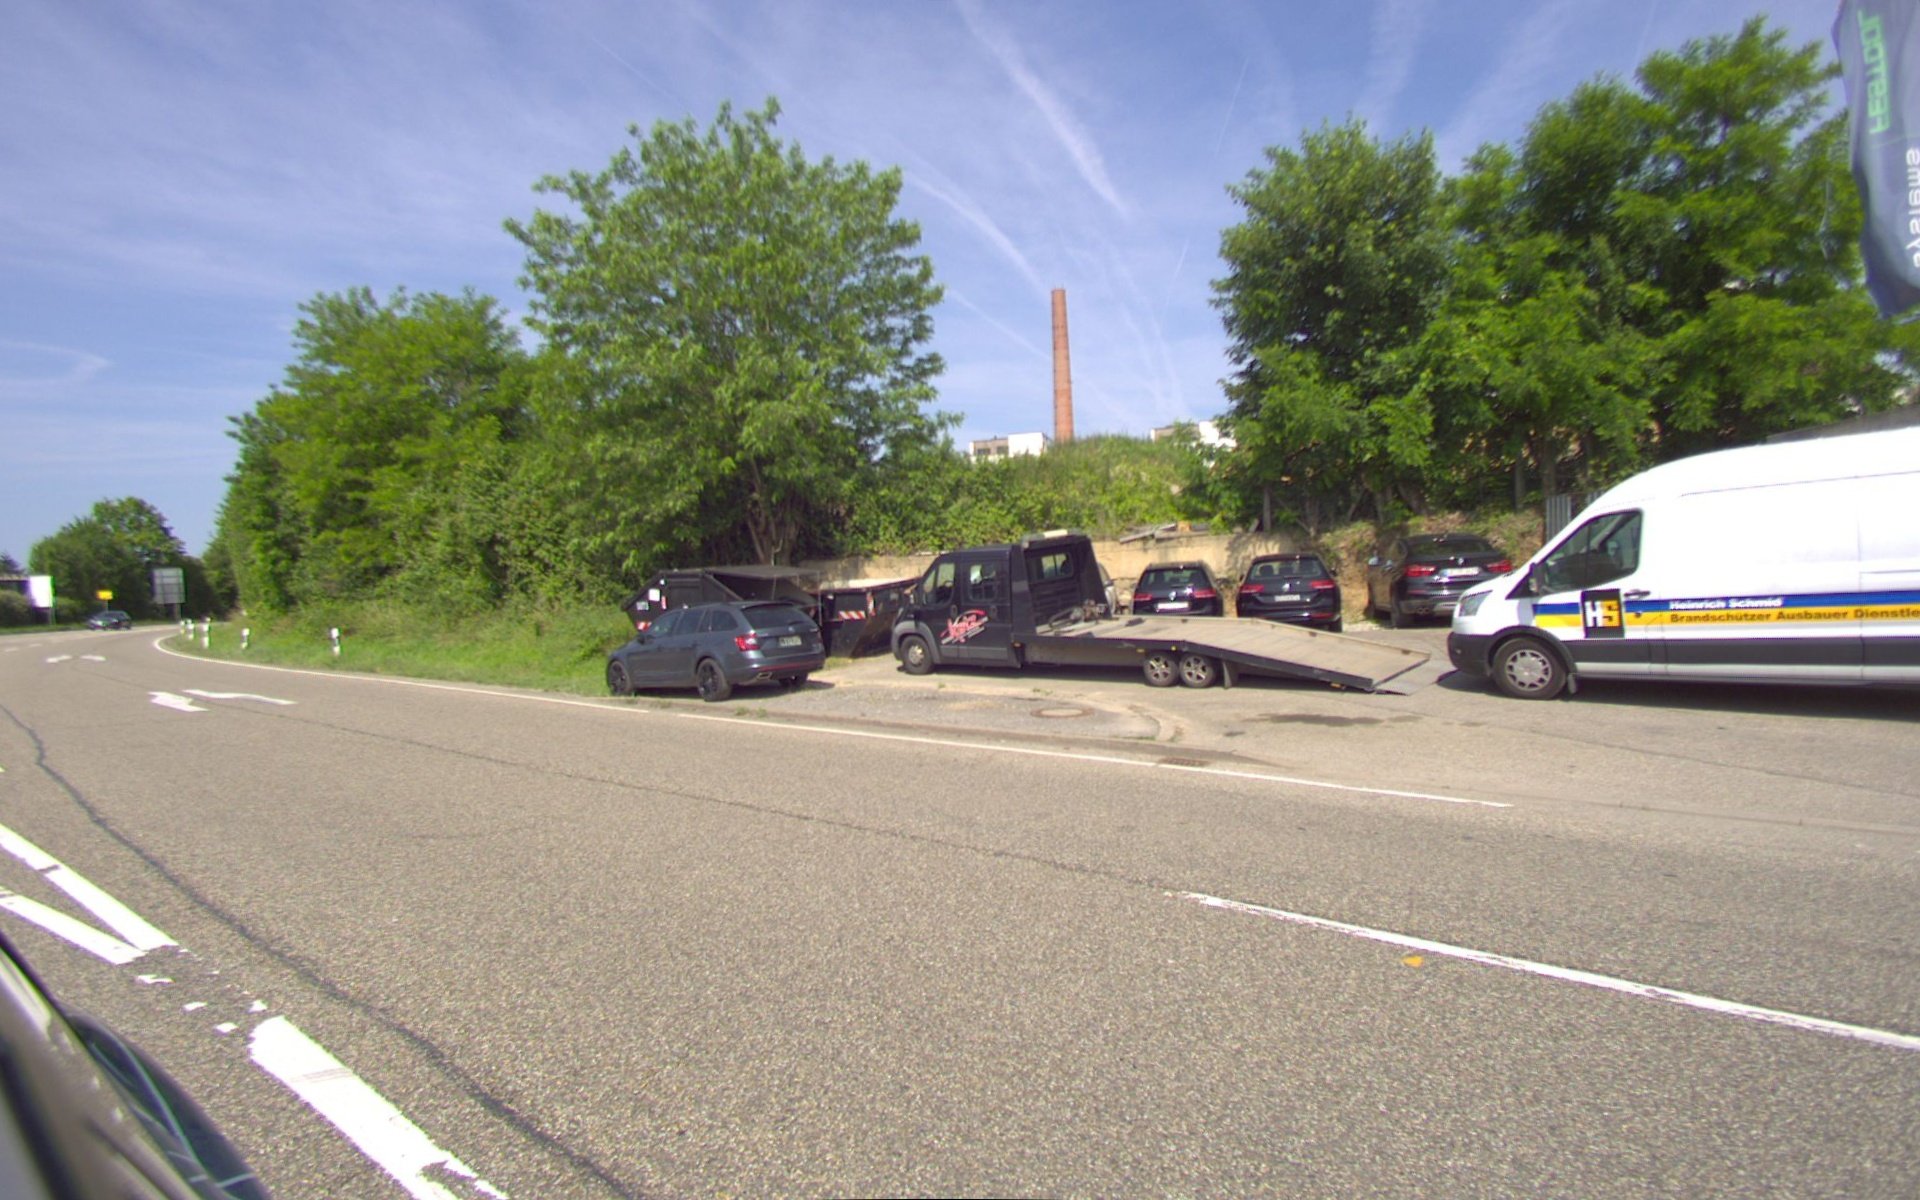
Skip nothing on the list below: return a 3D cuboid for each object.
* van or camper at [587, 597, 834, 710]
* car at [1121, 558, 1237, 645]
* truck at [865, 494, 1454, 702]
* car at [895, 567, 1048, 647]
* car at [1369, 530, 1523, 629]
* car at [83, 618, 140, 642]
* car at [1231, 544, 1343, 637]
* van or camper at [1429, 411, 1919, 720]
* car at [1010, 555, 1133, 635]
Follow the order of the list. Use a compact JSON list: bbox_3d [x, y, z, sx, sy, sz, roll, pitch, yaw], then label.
[{"bbox_3d":[-4.160,0.785,16.464,4.466,1.535,1.622,-1,2,42],"label":"van or camper"},{"bbox_3d":[4.313,-0.016,19.562,1.726,1.480,3.648,-2,1,19],"label":"car"},{"bbox_3d":[2.438,-0.032,15.440,8.803,2.313,2.307,-1,6,43],"label":"truck"},{"bbox_3d":[0.339,0.099,21.415,1.709,1.522,3.636,-2,1,28],"label":"car"},{"bbox_3d":[8.564,-0.373,18.150,1.723,1.541,3.655,-2,1,14],"label":"car"},{"bbox_3d":[-66.450,2.325,79.344,1.837,1.653,4.435,-2,1,-17],"label":"car"},{"bbox_3d":[6.019,-0.198,18.532,1.726,1.480,3.648,-2,1,19],"label":"car"},{"bbox_3d":[8.013,-0.366,9.687,2.127,2.517,5.961,-7,4,-38],"label":"van or camper"},{"bbox_3d":[2.396,-0.136,21.048,1.726,1.480,3.648,-2,1,19],"label":"car"}]
